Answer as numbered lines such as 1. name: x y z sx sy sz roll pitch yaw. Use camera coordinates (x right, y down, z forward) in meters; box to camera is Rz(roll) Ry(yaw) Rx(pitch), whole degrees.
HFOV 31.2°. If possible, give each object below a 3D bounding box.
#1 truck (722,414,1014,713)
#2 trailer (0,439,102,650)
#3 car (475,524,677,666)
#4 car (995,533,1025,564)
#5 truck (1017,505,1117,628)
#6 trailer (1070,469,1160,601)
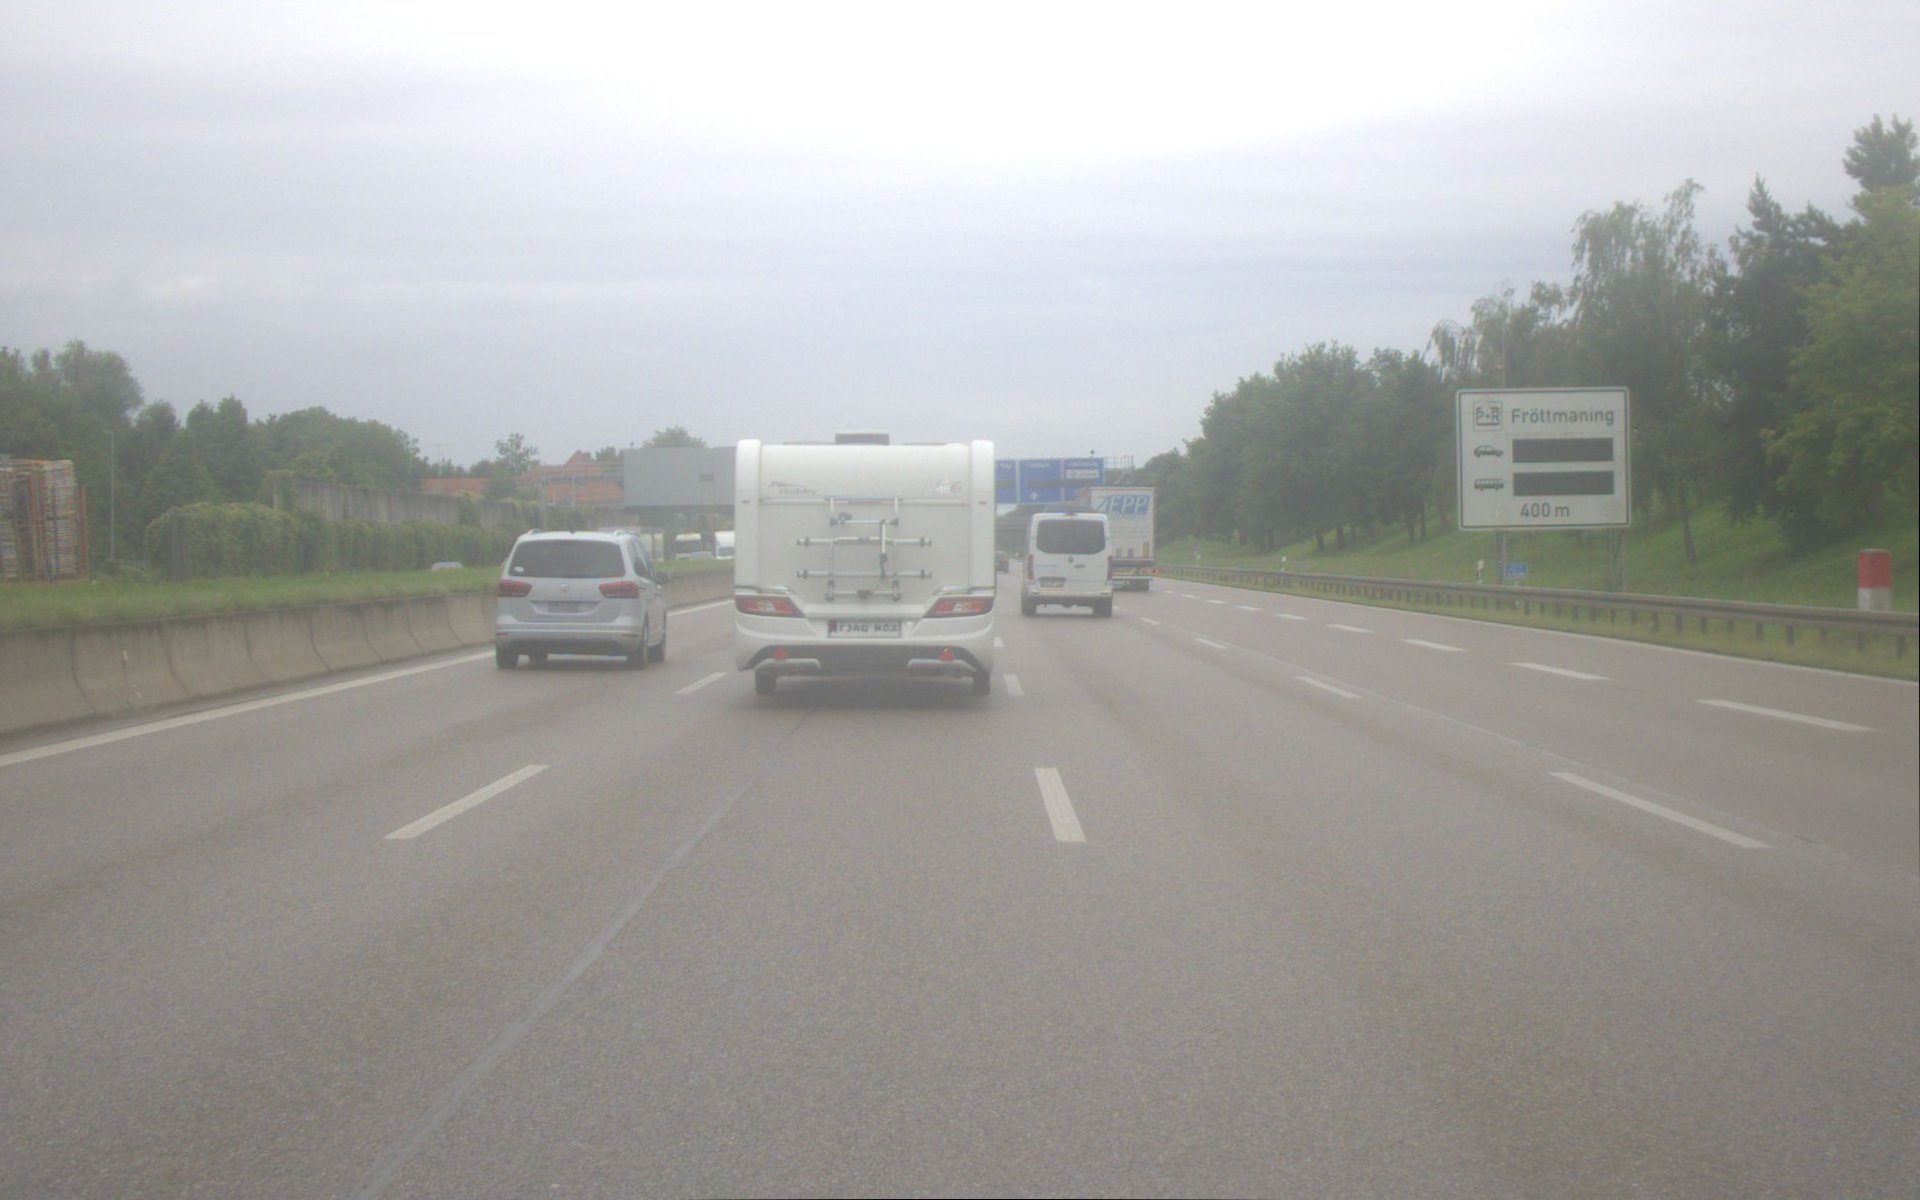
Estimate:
1. truck: -0.885 -0.361 34.334 2.661 2.733 5.078 1 1 -1
2. trailer: -17.118 -0.947 58.496 2.931 3.447 8.320 1 1 0
3. car: -4.780 -0.100 43.355 2.128 1.700 4.113 0 1 -1
4. car: 3.382 -3.484 232.838 1.993 2.007 4.000 1 1 1
5. truck: 2.468 -0.783 80.376 2.053 2.760 5.549 1 1 -1
6. trailer: 6.024 -2.496 135.322 3.100 4.905 11.790 1 1 1
